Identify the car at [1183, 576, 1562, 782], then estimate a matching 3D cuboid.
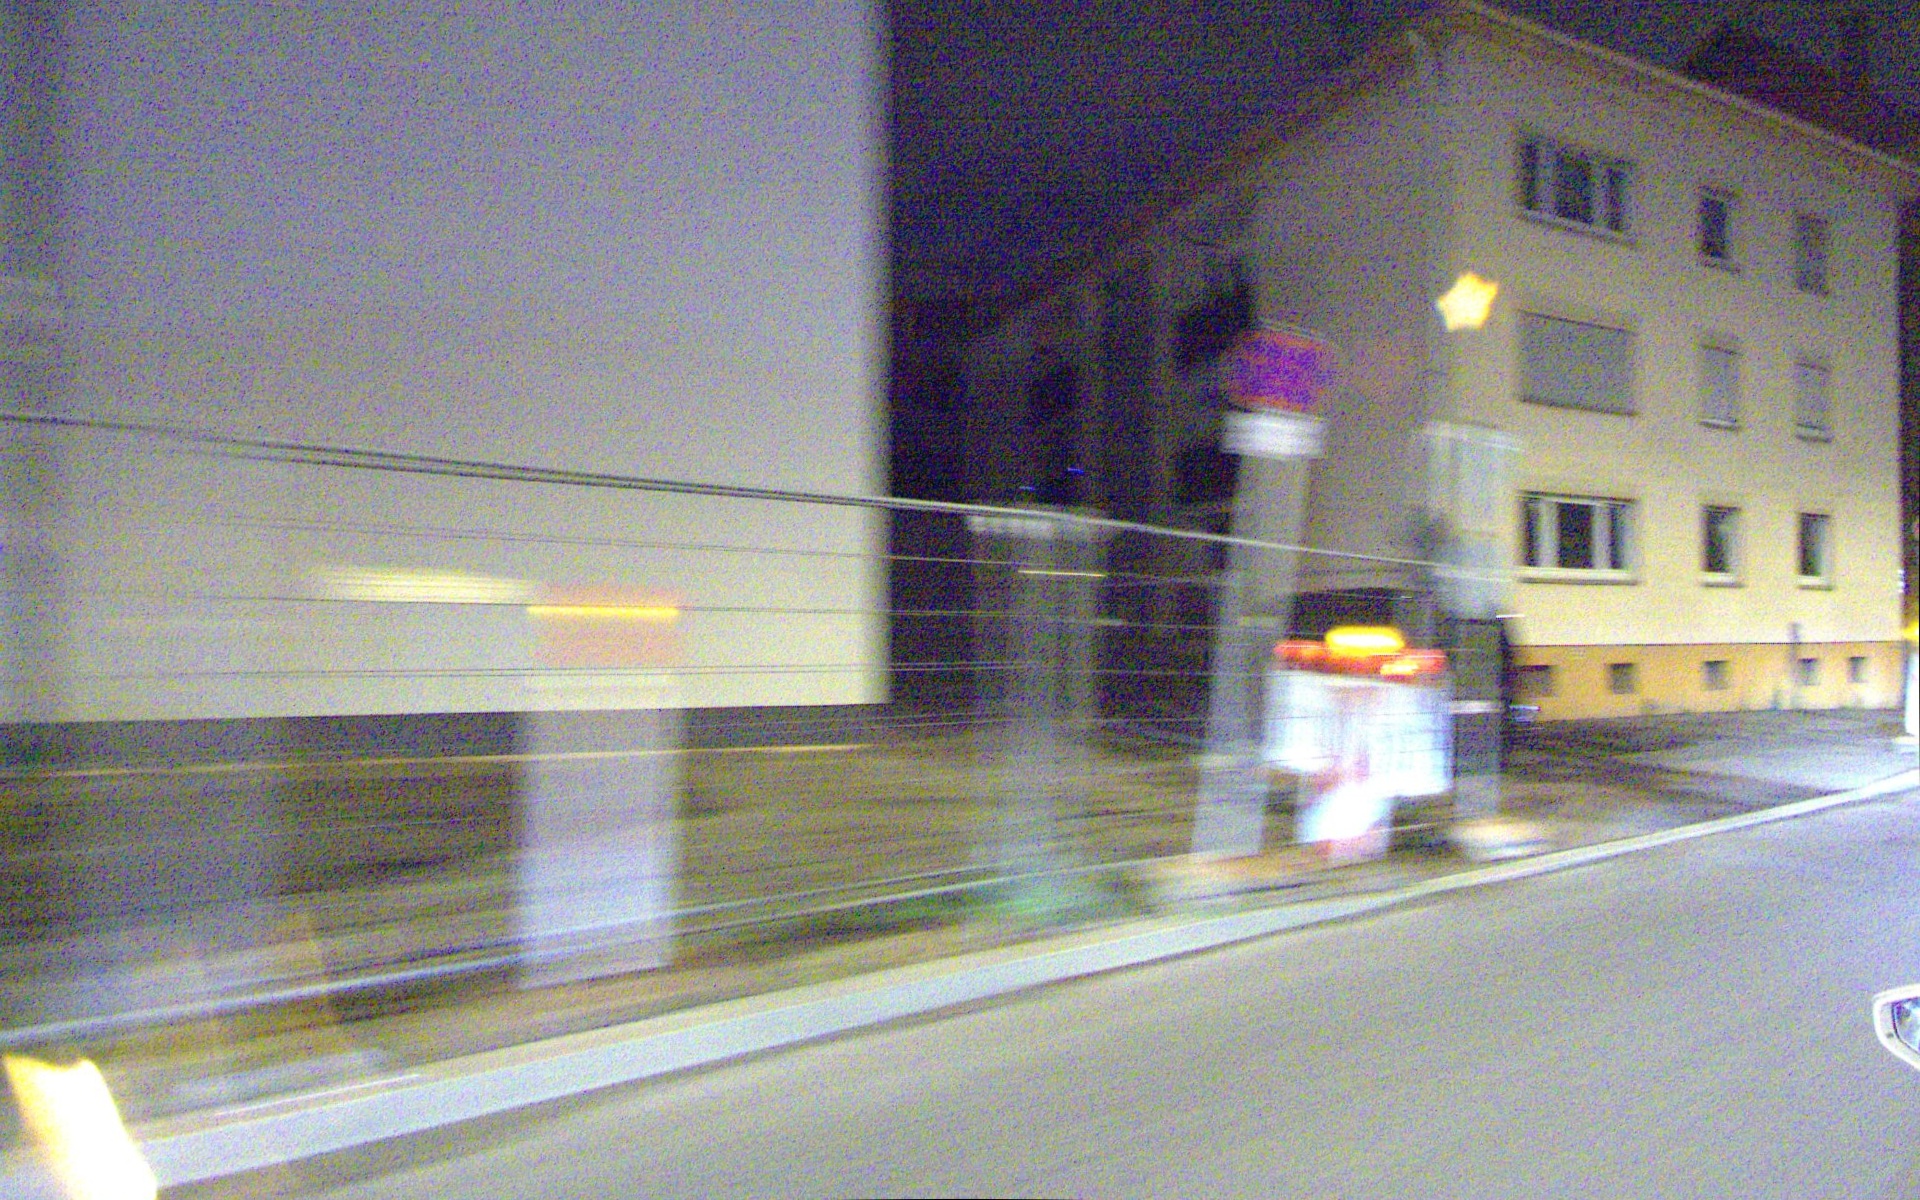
[{"bbox_3d":[4.452,0.797,11.552,1.879,1.914,3.983,2,-1,-19],"label":"car"}]
